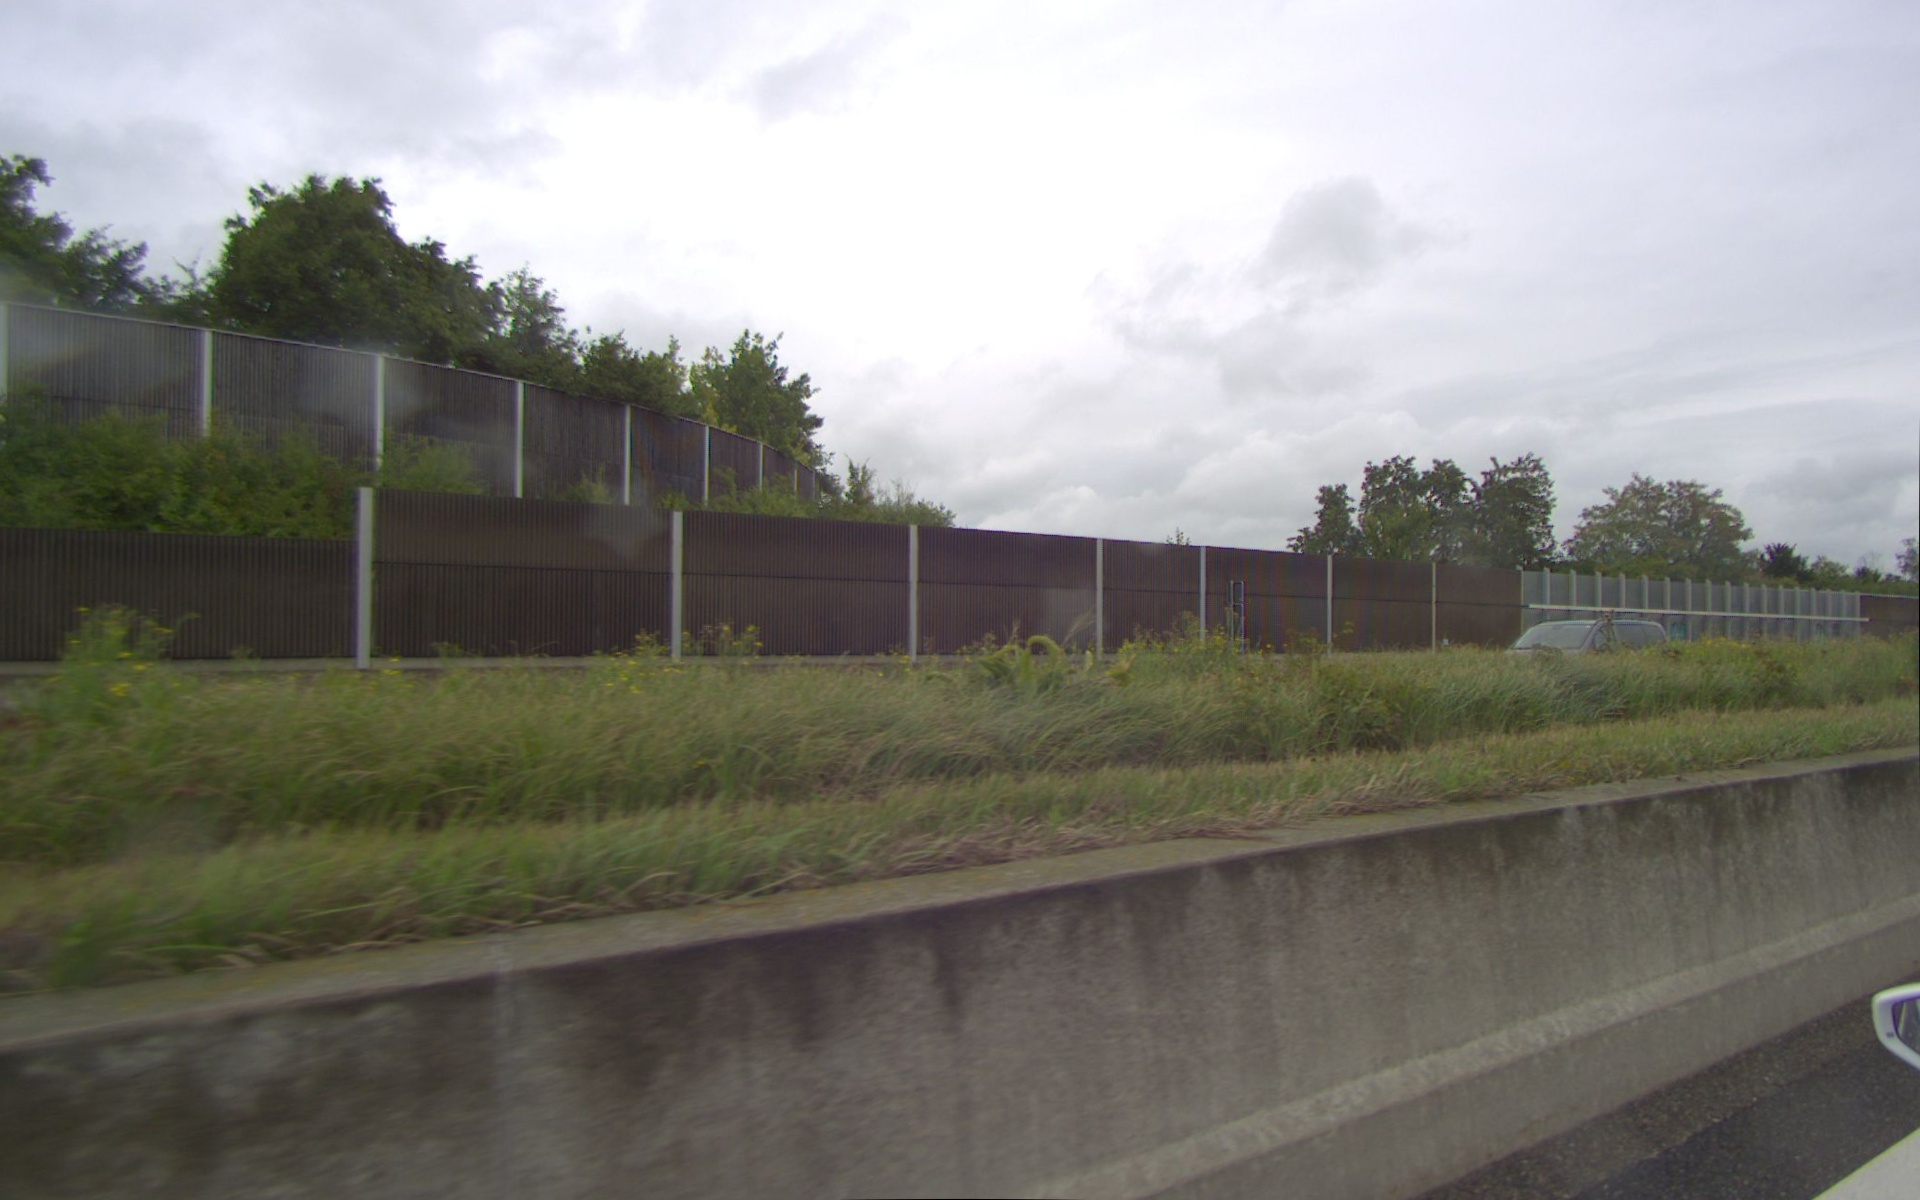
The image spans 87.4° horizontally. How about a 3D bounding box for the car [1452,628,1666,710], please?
[{"bbox_3d":[13.122,1.445,21.951,4.714,1.561,1.984,2,0,-31],"label":"car"}]
